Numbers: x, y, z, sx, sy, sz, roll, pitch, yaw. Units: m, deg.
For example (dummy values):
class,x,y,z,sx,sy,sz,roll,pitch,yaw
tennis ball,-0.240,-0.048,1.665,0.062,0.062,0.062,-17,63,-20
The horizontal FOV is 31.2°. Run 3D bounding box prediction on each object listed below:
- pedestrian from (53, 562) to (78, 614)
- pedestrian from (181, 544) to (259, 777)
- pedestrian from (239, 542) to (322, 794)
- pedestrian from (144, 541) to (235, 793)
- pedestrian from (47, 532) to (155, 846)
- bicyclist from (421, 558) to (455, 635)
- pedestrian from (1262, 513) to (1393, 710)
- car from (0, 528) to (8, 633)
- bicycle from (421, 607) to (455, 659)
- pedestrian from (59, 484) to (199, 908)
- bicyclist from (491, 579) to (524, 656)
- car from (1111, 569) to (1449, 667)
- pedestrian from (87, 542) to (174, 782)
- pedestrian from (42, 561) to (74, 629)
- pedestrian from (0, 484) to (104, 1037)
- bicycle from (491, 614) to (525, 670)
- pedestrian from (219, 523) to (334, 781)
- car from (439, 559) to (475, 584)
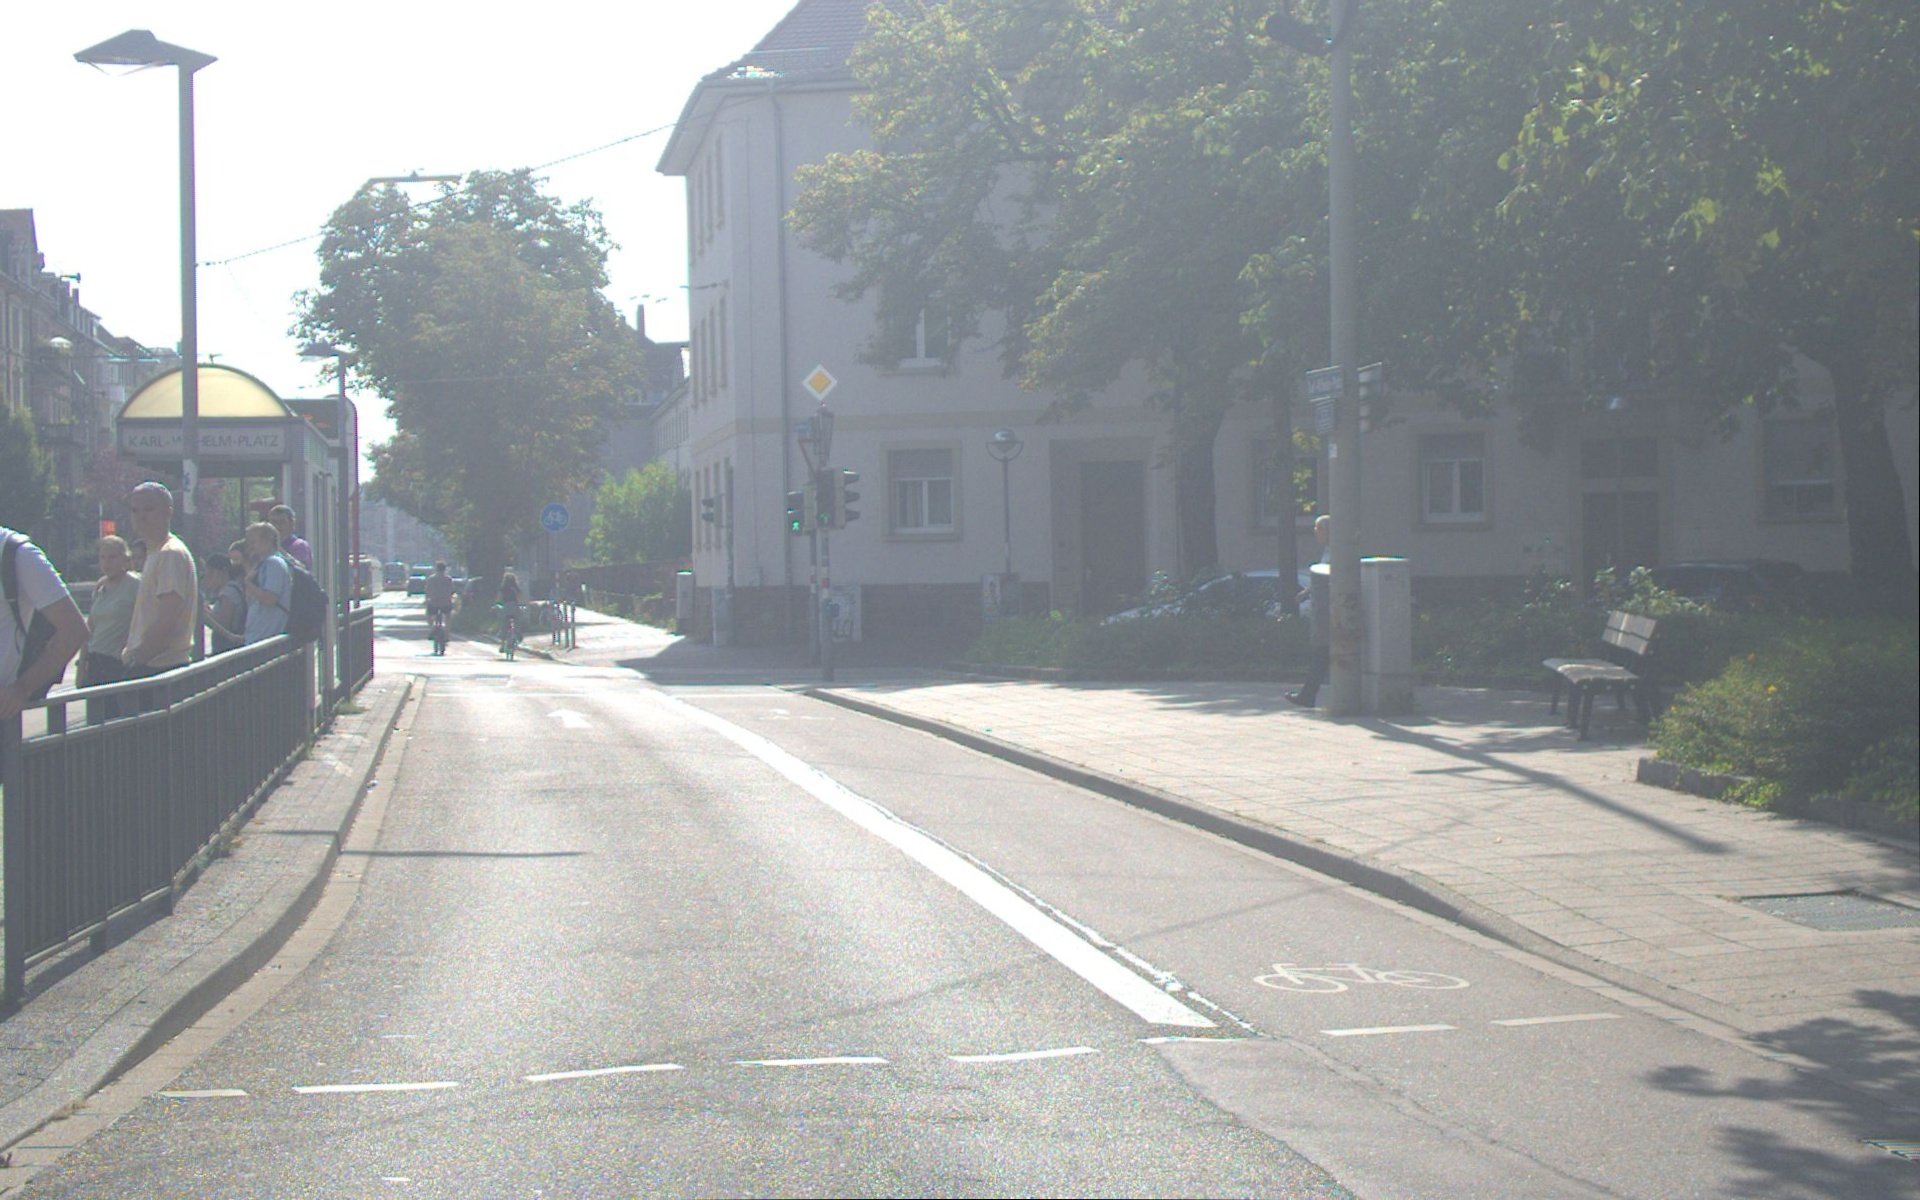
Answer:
class,x,y,z,sx,sy,sz,roll,pitch,yaw
pedestrian,-29.683,-0.407,114.112,0.749,1.725,0.772,-1,0,-16
pedestrian,-5.717,0.464,26.560,0.504,1.753,0.534,2,3,-7
pedestrian,-4.866,0.480,24.646,0.504,1.753,0.534,2,3,-7
pedestrian,-5.504,0.472,24.571,0.543,1.753,0.534,2,3,-7
pedestrian,-4.939,0.503,19.786,0.504,1.753,0.534,2,3,-7
bicyclist,-10.251,-0.069,67.485,0.628,1.502,0.679,-1,1,-9
pedestrian,3.300,0.101,30.869,0.893,1.734,0.775,0,0,33
car,-25.252,-0.461,84.893,2.347,2.653,5.105,-1,1,-4
bicycle,-10.247,0.638,67.494,0.628,0.974,1.771,-1,1,-9
pedestrian,-3.668,0.413,15.201,0.504,1.827,0.534,2,3,-7
bicyclist,-8.455,0.315,64.193,0.558,1.412,0.872,-1,1,-9
car,4.528,0.254,48.778,4.329,1.316,1.996,0,1,32
pedestrian,-6.248,0.460,25.910,0.532,1.753,0.545,2,3,-6
pedestrian,-23.246,-0.131,88.602,0.749,1.725,0.772,-1,0,-16
pedestrian,-3.269,0.493,10.952,0.701,1.719,0.747,3,3,25
bicycle,-8.439,0.777,64.185,0.558,0.974,1.857,-1,1,-9
pedestrian,-4.774,0.358,24.034,0.708,1.753,0.534,2,3,-7
car,-35.197,-1.986,240.719,1.993,1.777,4.000,0,0,-1
